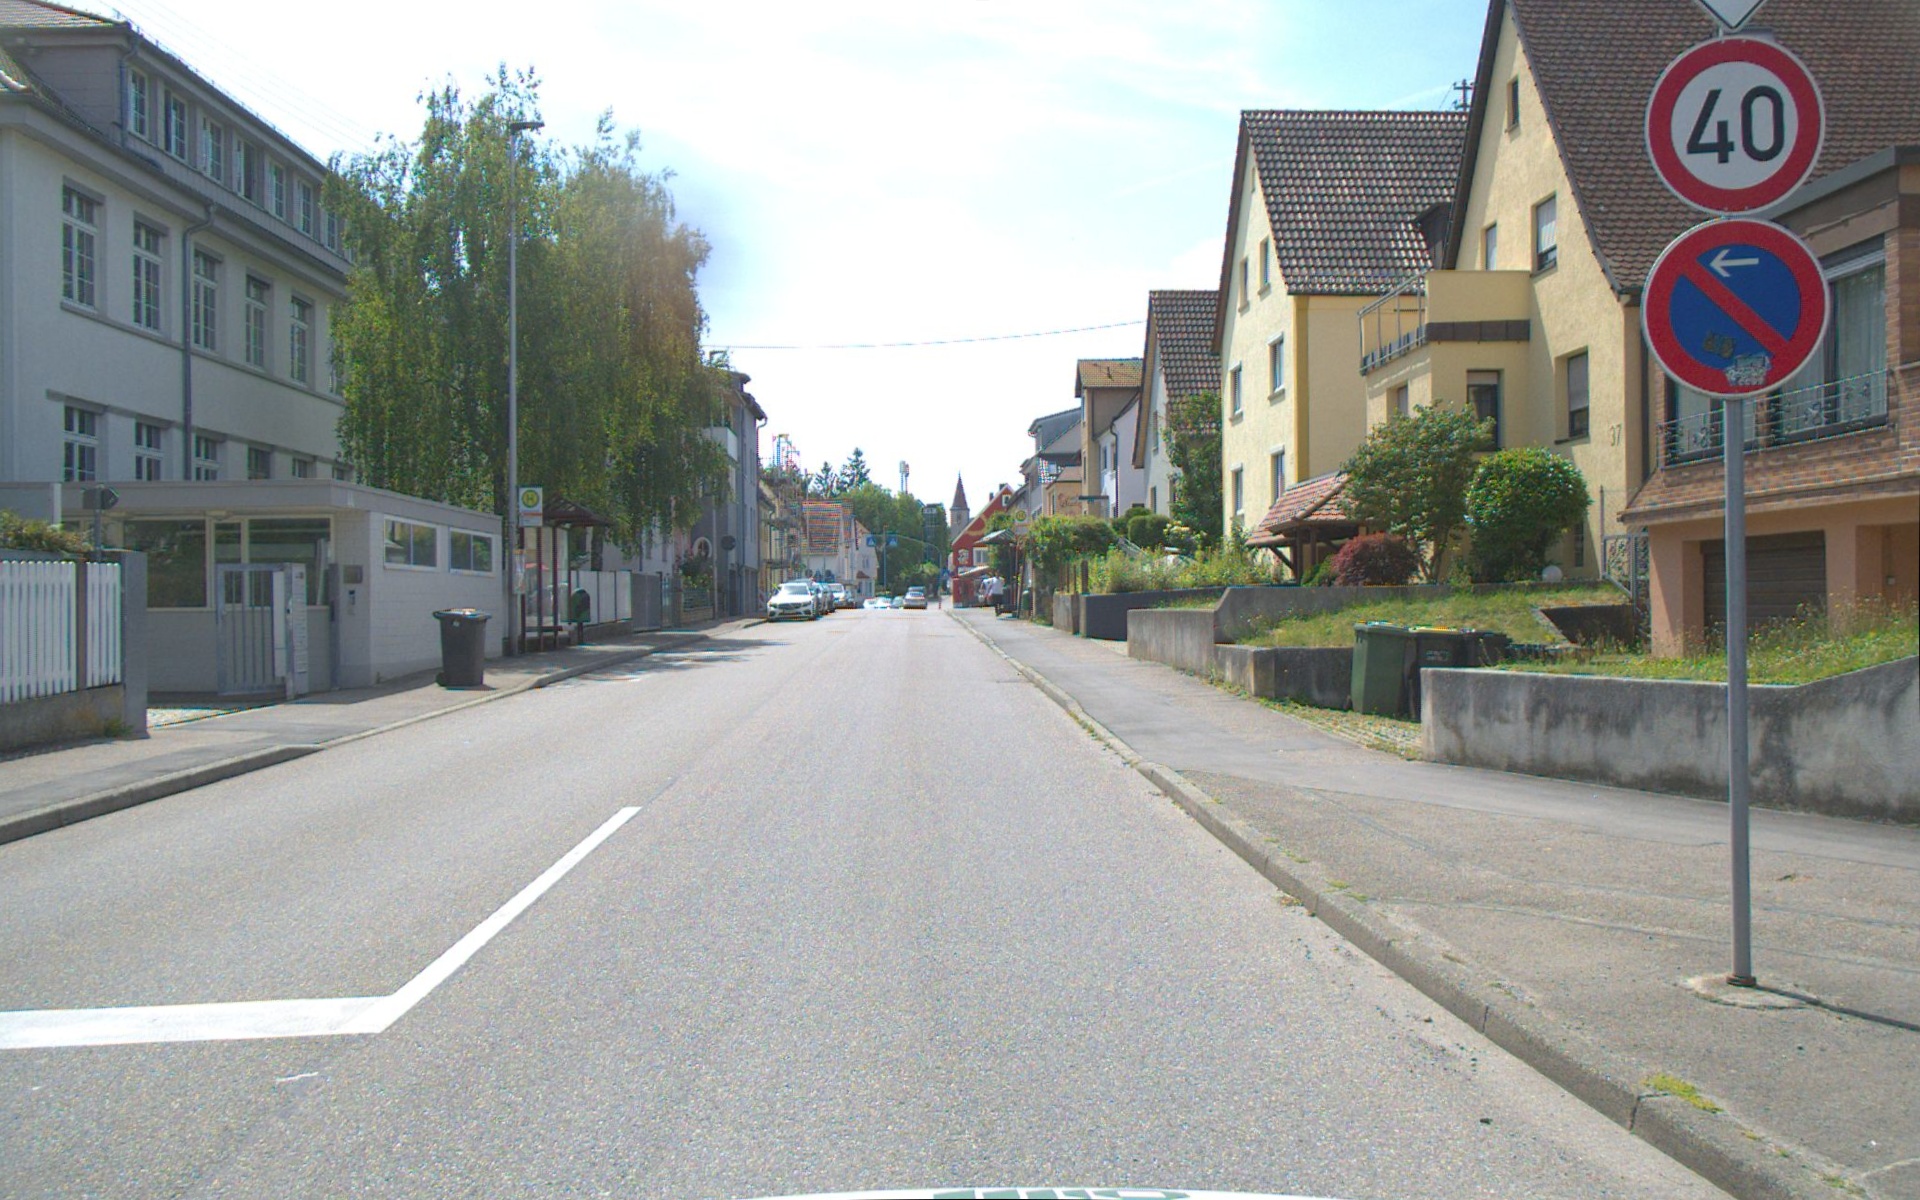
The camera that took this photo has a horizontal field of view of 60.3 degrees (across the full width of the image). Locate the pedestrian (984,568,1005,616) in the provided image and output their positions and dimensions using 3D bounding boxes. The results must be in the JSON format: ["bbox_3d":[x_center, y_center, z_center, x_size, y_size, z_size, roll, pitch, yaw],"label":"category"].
[{"bbox_3d":[1.306,-0.306,62.606,0.633,1.759,0.608,-4,1,-2],"label":"pedestrian"}]

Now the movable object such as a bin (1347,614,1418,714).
[{"bbox_3d":[4.966,0.740,19.452,0.571,1.097,0.733,3,1,-2],"label":"movable object such as a bin"}]

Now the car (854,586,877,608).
[{"bbox_3d":[-9.296,-0.299,162.908,1.953,2.048,4.000,-2,1,0],"label":"car"}]

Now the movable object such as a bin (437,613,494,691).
[{"bbox_3d":[-7.155,0.747,23.956,0.595,1.064,0.725,0,2,-2],"label":"movable object such as a bin"}]

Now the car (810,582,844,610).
[{"bbox_3d":[-8.108,-0.283,101.109,1.954,1.588,4.311,-2,1,-3],"label":"car"}]

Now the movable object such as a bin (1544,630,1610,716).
[{"bbox_3d":[7.317,0.858,19.628,0.517,0.968,0.563,2,1,-2],"label":"movable object such as a bin"}]

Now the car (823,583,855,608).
[{"bbox_3d":[-8.366,-0.346,114.671,1.953,1.588,4.312,-2,1,-2],"label":"car"}]

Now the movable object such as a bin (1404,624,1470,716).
[{"bbox_3d":[5.618,0.814,19.495,0.518,1.006,0.563,5,1,-2],"label":"movable object such as a bin"}]

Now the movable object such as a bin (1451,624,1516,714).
[{"bbox_3d":[6.165,0.807,19.508,0.517,1.006,0.563,4,1,-2],"label":"movable object such as a bin"}]

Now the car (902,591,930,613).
[{"bbox_3d":[-3.475,0.139,130.159,1.955,1.588,4.310,-2,1,-5],"label":"car"}]

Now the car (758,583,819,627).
[{"bbox_3d":[-6.721,0.157,65.213,2.068,1.588,4.312,-2,1,-2],"label":"car"}]

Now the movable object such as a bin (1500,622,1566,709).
[{"bbox_3d":[6.771,0.765,19.560,0.517,0.968,0.563,4,1,-2],"label":"movable object such as a bin"}]

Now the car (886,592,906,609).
[{"bbox_3d":[-6.403,0.044,165.975,1.803,1.489,4.000,-2,1,-1],"label":"car"}]

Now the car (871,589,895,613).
[{"bbox_3d":[-7.089,0.082,153.240,1.953,2.048,4.000,-2,1,0],"label":"car"}]
